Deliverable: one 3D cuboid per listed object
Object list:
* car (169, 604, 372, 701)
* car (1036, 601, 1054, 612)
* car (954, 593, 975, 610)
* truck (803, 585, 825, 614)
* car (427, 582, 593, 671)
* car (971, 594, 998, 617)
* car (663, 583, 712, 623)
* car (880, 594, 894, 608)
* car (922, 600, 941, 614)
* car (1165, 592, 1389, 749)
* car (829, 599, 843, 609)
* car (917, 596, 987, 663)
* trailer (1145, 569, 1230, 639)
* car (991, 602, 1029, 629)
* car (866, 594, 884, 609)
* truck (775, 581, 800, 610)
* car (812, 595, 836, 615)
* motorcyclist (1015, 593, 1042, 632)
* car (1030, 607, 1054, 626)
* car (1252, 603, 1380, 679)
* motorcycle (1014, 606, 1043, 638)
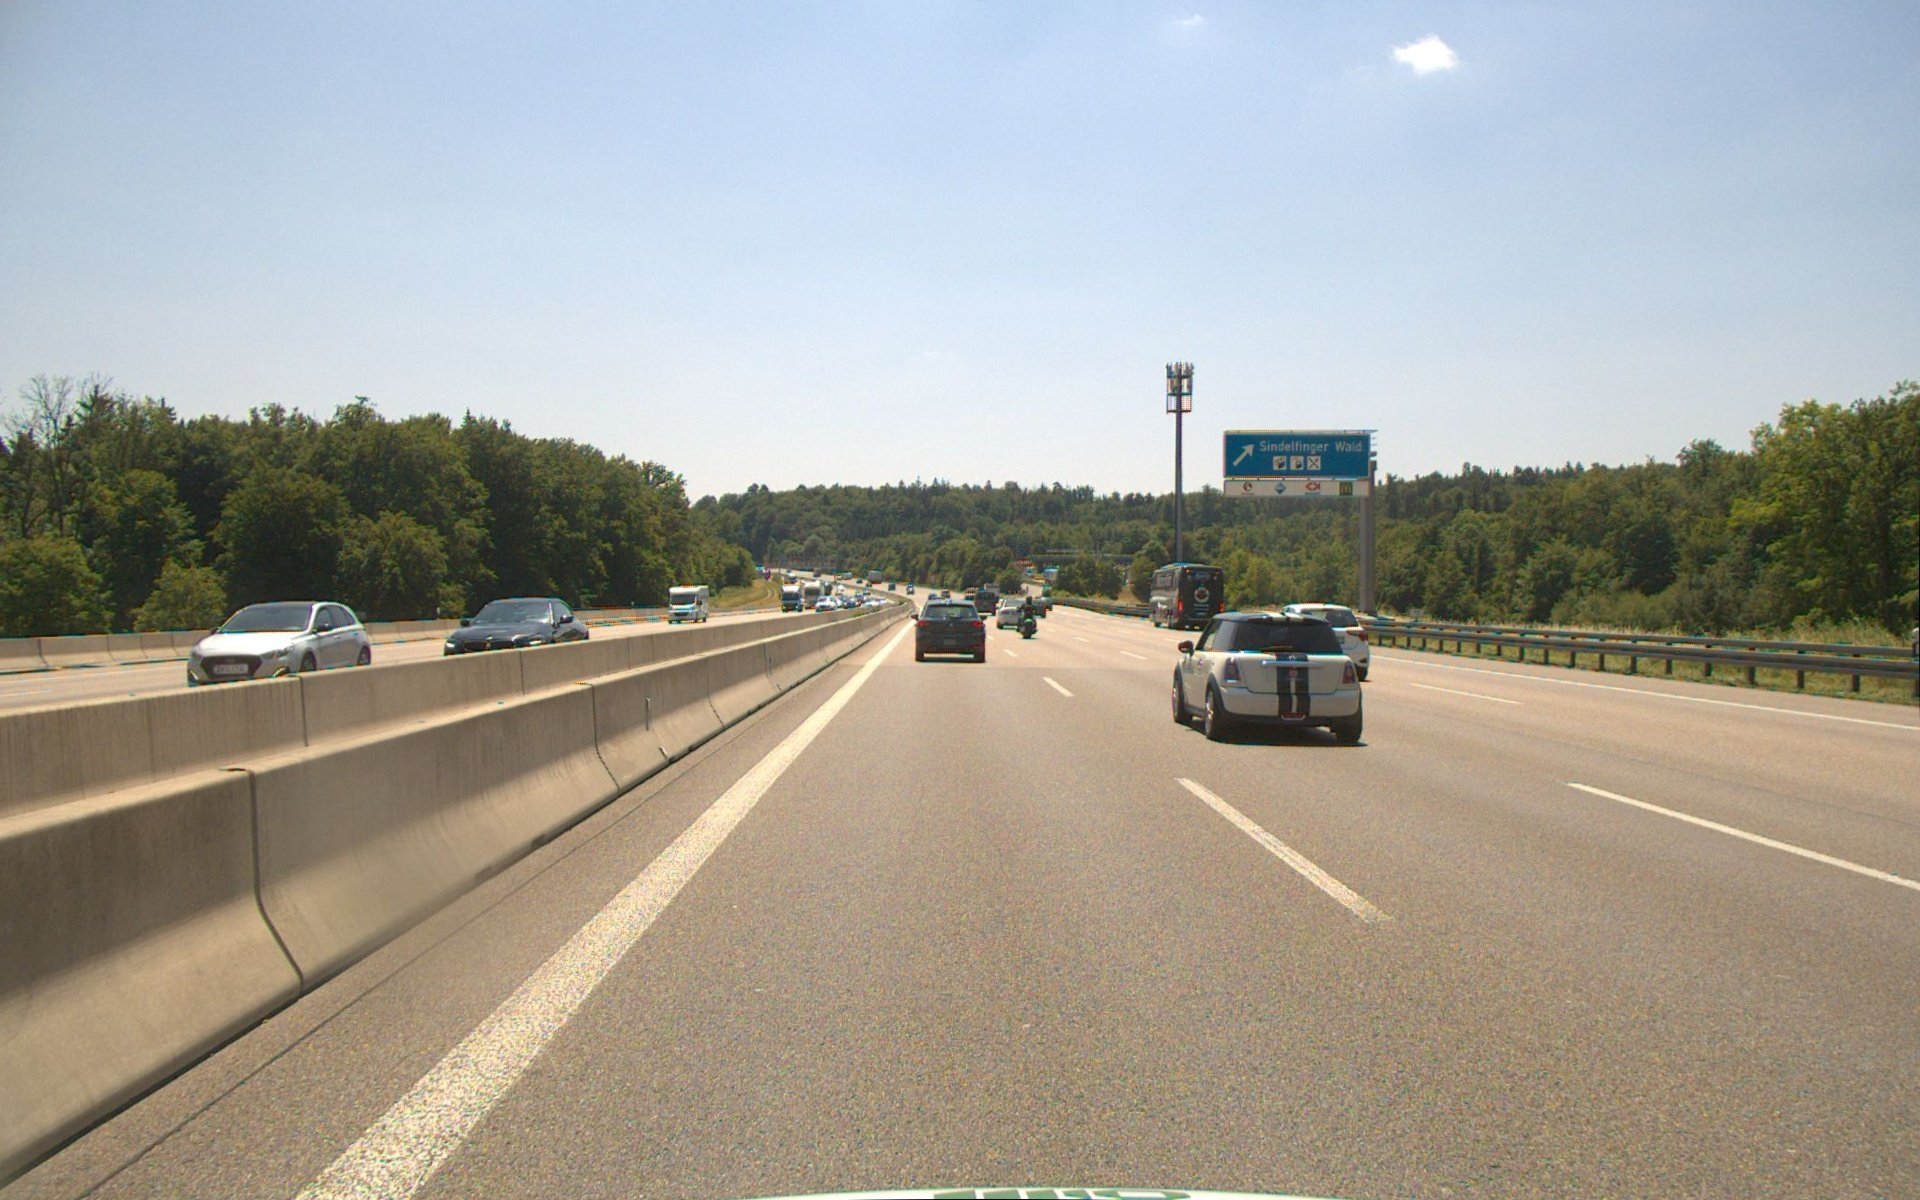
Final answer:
[{"bbox_3d":[-11.315,0.814,27.438,1.802,1.466,3.999,0,0,-2],"label":"car"},{"bbox_3d":[9.227,0.716,180.104,1.576,1.233,3.458,-1,0,-2],"label":"car"},{"bbox_3d":[0.471,0.197,180.912,1.955,1.713,4.419,1,1,-5],"label":"car"},{"bbox_3d":[-22.315,-0.070,253.135,2.660,4.171,7.875,-2,0,-1],"label":"truck"},{"bbox_3d":[-7.942,0.436,29.643,1.802,1.466,4.843,0,0,-2],"label":"car"},{"bbox_3d":[2.038,0.429,137.519,2.055,1.884,4.079,0,0,-2],"label":"car"},{"bbox_3d":[-19.601,0.182,119.404,2.176,2.705,8.173,-2,0,-1],"label":"car"},{"bbox_3d":[-10.856,0.167,245.607,1.737,1.912,5.211,1,1,1],"label":"car"},{"bbox_3d":[-2.489,0.597,145.627,1.505,1.233,3.457,-1,0,-3],"label":"car"},{"bbox_3d":[3.602,0.733,19.485,1.804,1.579,4.000,2,1,0],"label":"car"},{"bbox_3d":[-18.880,0.594,252.381,1.762,1.400,4.530,-3,0,-1],"label":"car"},{"bbox_3d":[-0.204,0.677,40.091,1.591,1.513,3.684,1,0,-1],"label":"car"},{"bbox_3d":[12.996,0.258,95.782,2.799,3.752,13.539,-1,0,-1],"label":"trailer"},{"bbox_3d":[2.512,0.778,83.202,1.746,1.287,3.459,0,0,-1],"label":"car"},{"bbox_3d":[-9.577,0.170,186.183,1.811,1.550,5.317,-2,0,-1],"label":"car"},{"bbox_3d":[-22.218,-0.609,213.421,2.488,3.633,8.574,0,0,-2],"label":"truck"},{"bbox_3d":[-13.101,0.489,159.604,1.953,1.819,5.317,-2,0,-1],"label":"car"},{"bbox_3d":[2.652,0.462,64.232,0.942,1.462,1.234,-1,1,-2],"label":"motorcyclist"},{"bbox_3d":[6.471,1.279,130.597,1.641,1.457,3.684,0,0,-1],"label":"car"},{"bbox_3d":[7.371,0.809,34.640,1.632,1.458,4.374,0,0,-2],"label":"car"},{"bbox_3d":[2.657,0.858,64.325,0.958,1.149,2.270,3,-2,-1],"label":"motorcycle"}]
